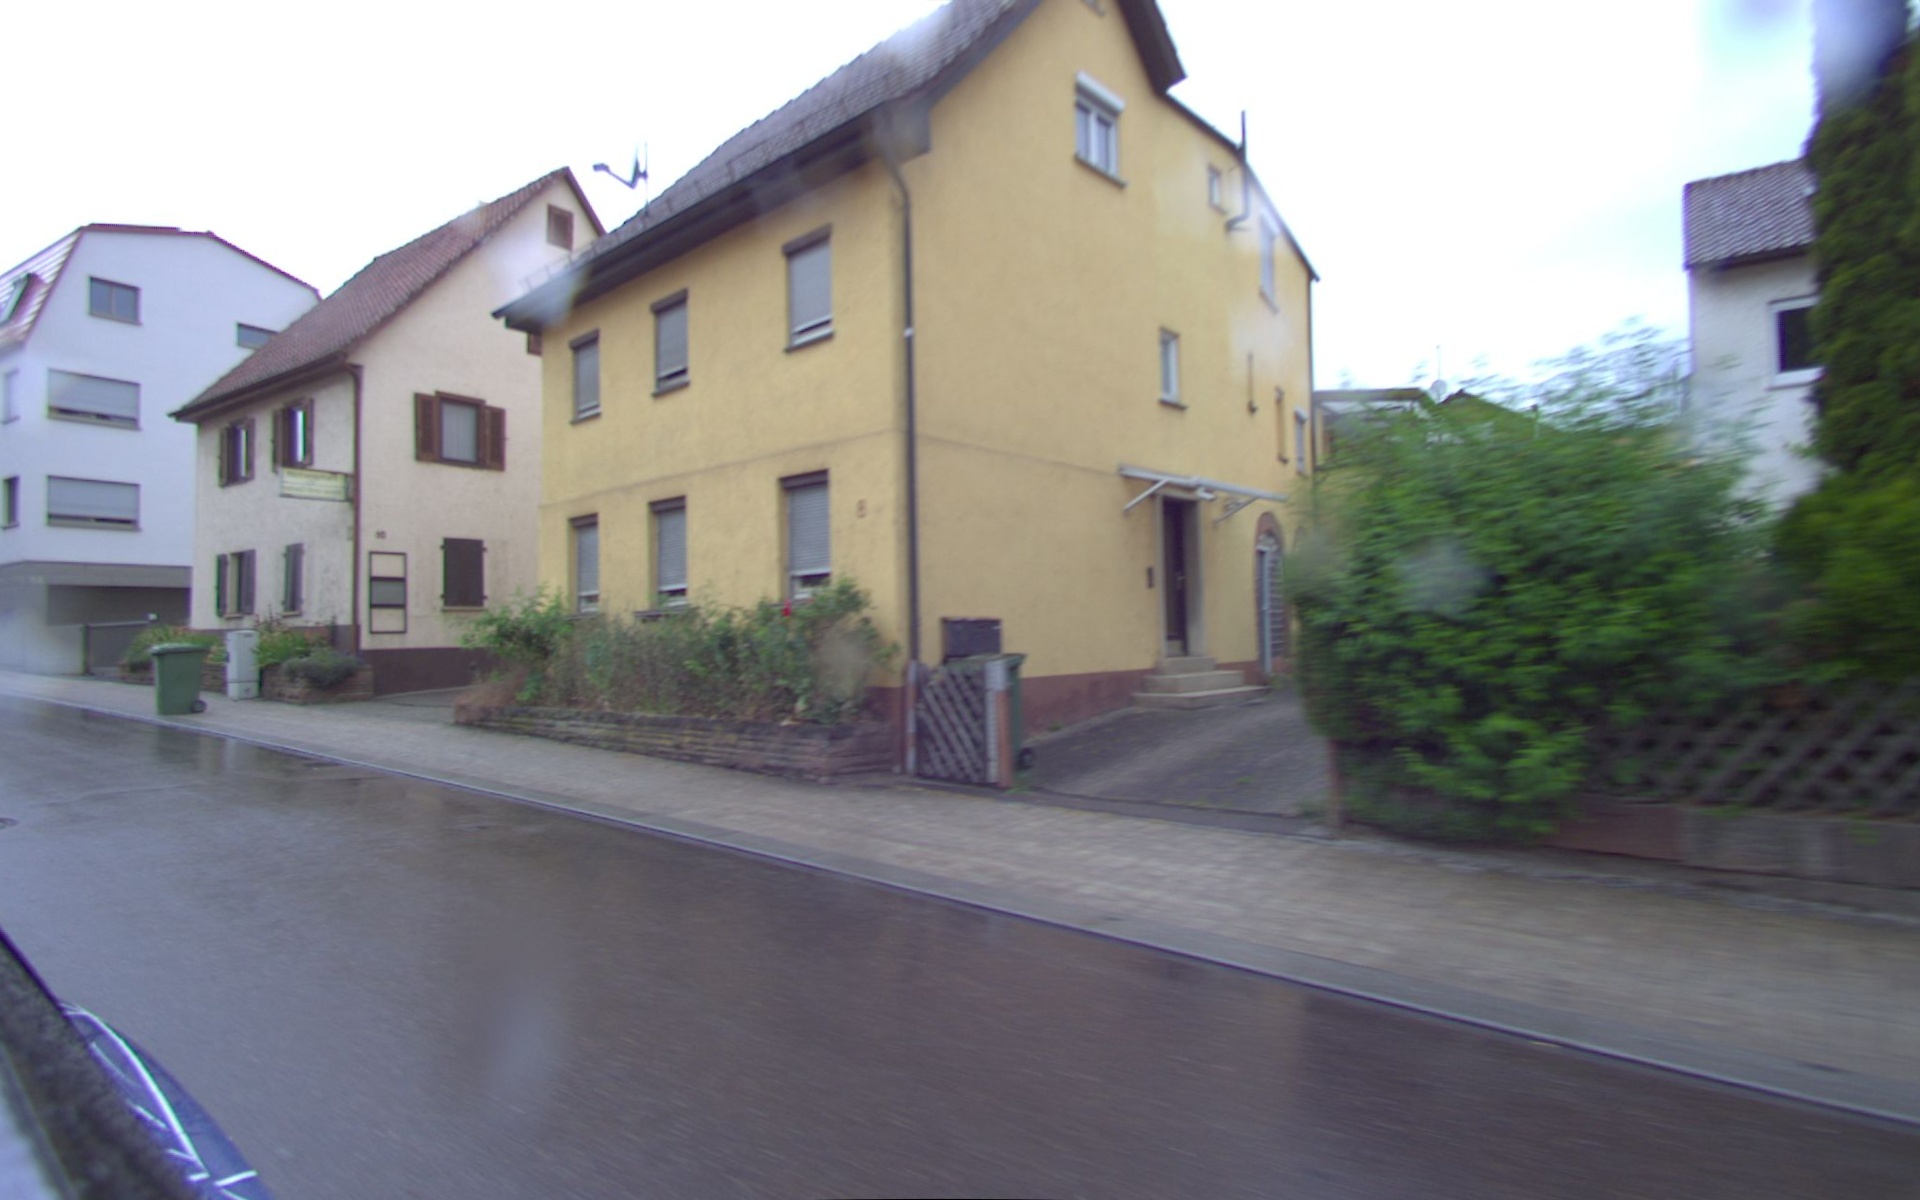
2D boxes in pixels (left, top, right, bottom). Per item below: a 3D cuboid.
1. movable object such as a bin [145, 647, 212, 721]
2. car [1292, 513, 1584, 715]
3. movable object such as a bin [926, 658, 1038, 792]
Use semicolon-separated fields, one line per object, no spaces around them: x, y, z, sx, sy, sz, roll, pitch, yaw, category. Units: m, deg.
-12.009;1.272;15.546;0.575;1.067;0.706;0;0;39;movable object such as a bin
6.881;0.150;14.114;2.324;2.221;5.843;0;0;40;car
0.197;1.100;9.107;0.650;1.117;0.721;5;-4;-44;movable object such as a bin
